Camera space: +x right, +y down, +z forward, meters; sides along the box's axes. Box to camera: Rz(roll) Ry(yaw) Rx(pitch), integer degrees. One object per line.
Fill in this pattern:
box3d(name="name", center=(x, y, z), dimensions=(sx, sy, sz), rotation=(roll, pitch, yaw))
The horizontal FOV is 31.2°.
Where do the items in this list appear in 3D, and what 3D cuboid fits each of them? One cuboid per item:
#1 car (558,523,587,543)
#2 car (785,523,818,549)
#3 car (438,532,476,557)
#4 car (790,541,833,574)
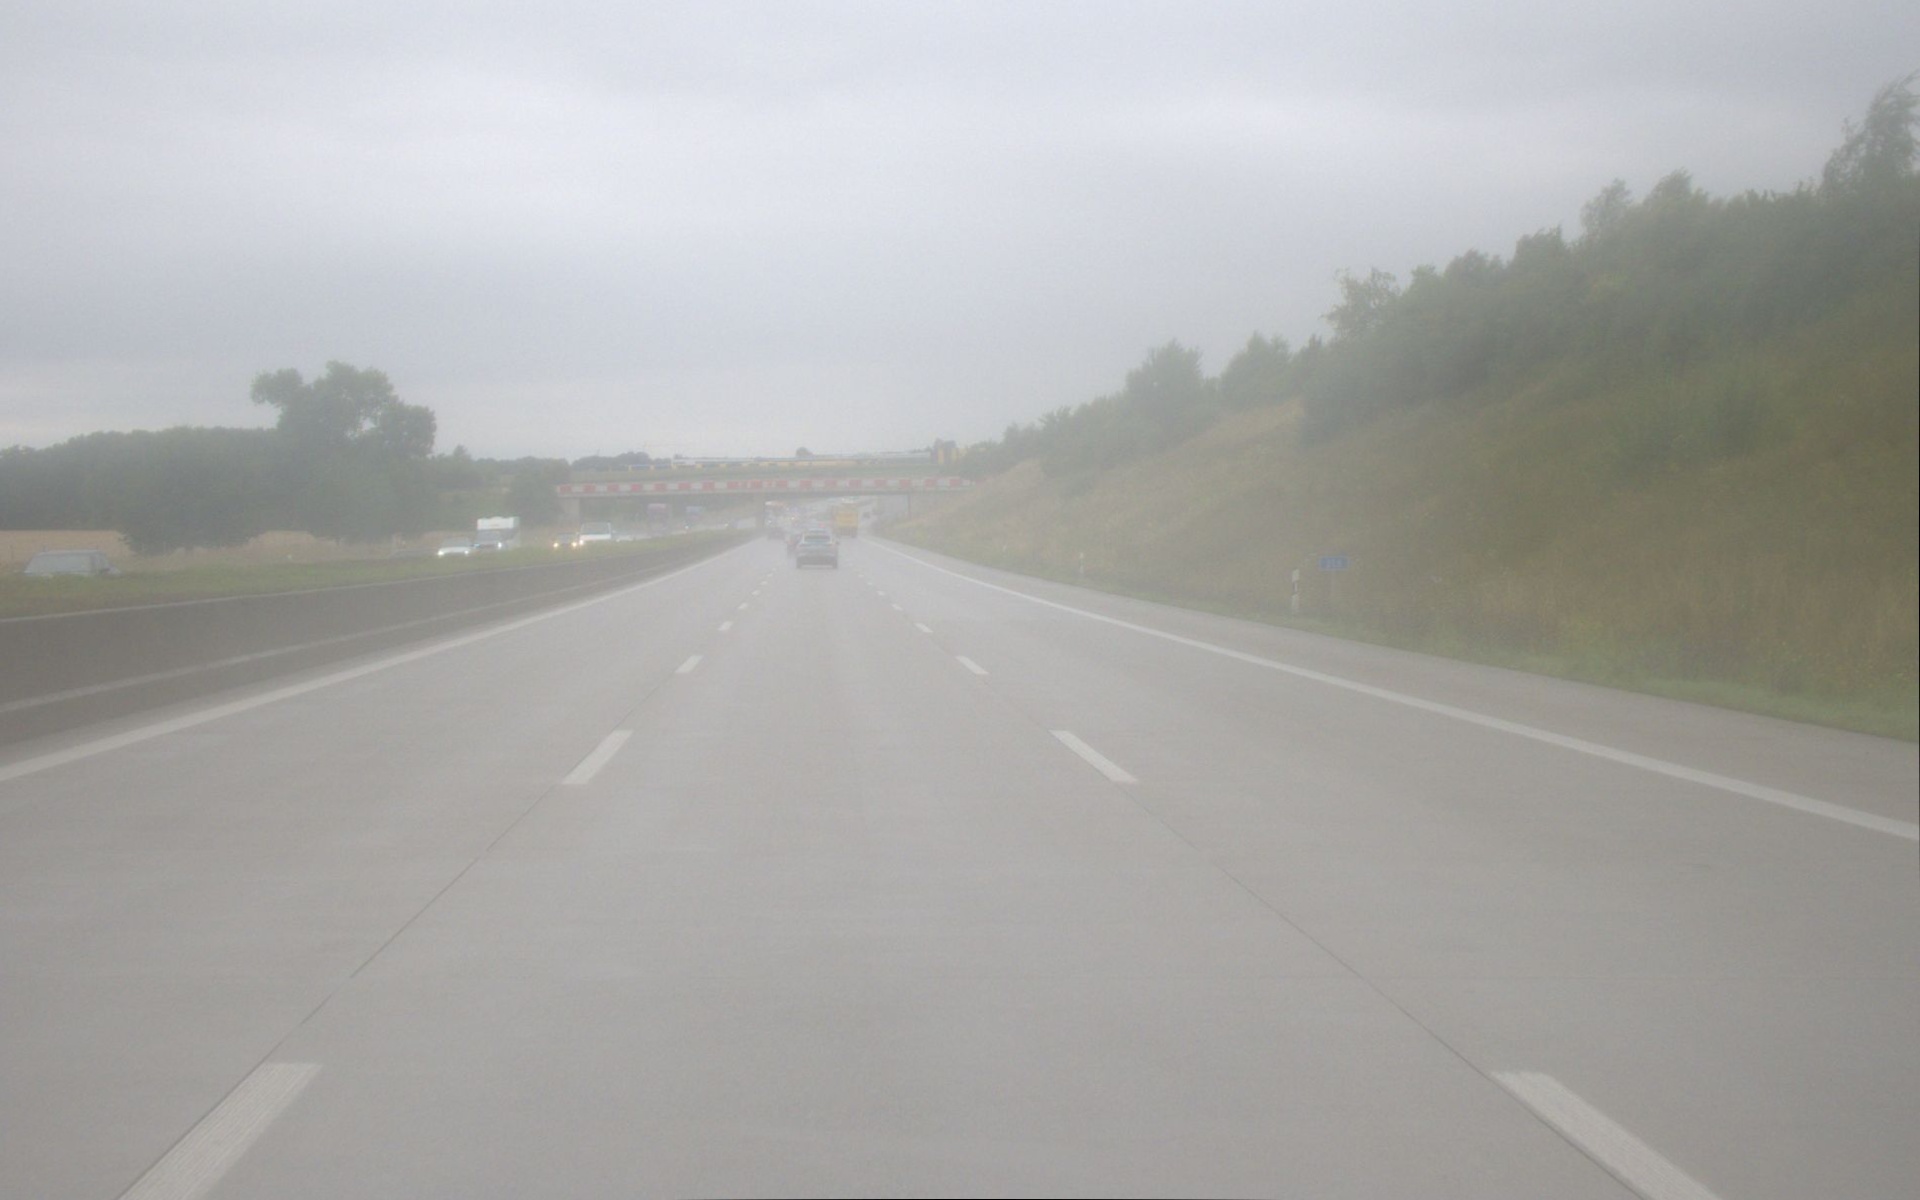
box3d(name="car", center=(-25.097, -4.345, 222.762), dimensions=(1.672, 1.275, 4.066), rotation=(0, 1, -3))
box3d(name="car", center=(-8.727, -3.538, 188.843), dimensions=(1.729, 1.326, 4.431), rotation=(0, 2, -3))
box3d(name="car", center=(-26.930, -2.982, 184.174), dimensions=(1.672, 1.275, 4.066), rotation=(0, 1, -3))
box3d(name="car", center=(-6.705, -1.937, 154.552), dimensions=(1.847, 1.326, 4.431), rotation=(0, 2, -4))
